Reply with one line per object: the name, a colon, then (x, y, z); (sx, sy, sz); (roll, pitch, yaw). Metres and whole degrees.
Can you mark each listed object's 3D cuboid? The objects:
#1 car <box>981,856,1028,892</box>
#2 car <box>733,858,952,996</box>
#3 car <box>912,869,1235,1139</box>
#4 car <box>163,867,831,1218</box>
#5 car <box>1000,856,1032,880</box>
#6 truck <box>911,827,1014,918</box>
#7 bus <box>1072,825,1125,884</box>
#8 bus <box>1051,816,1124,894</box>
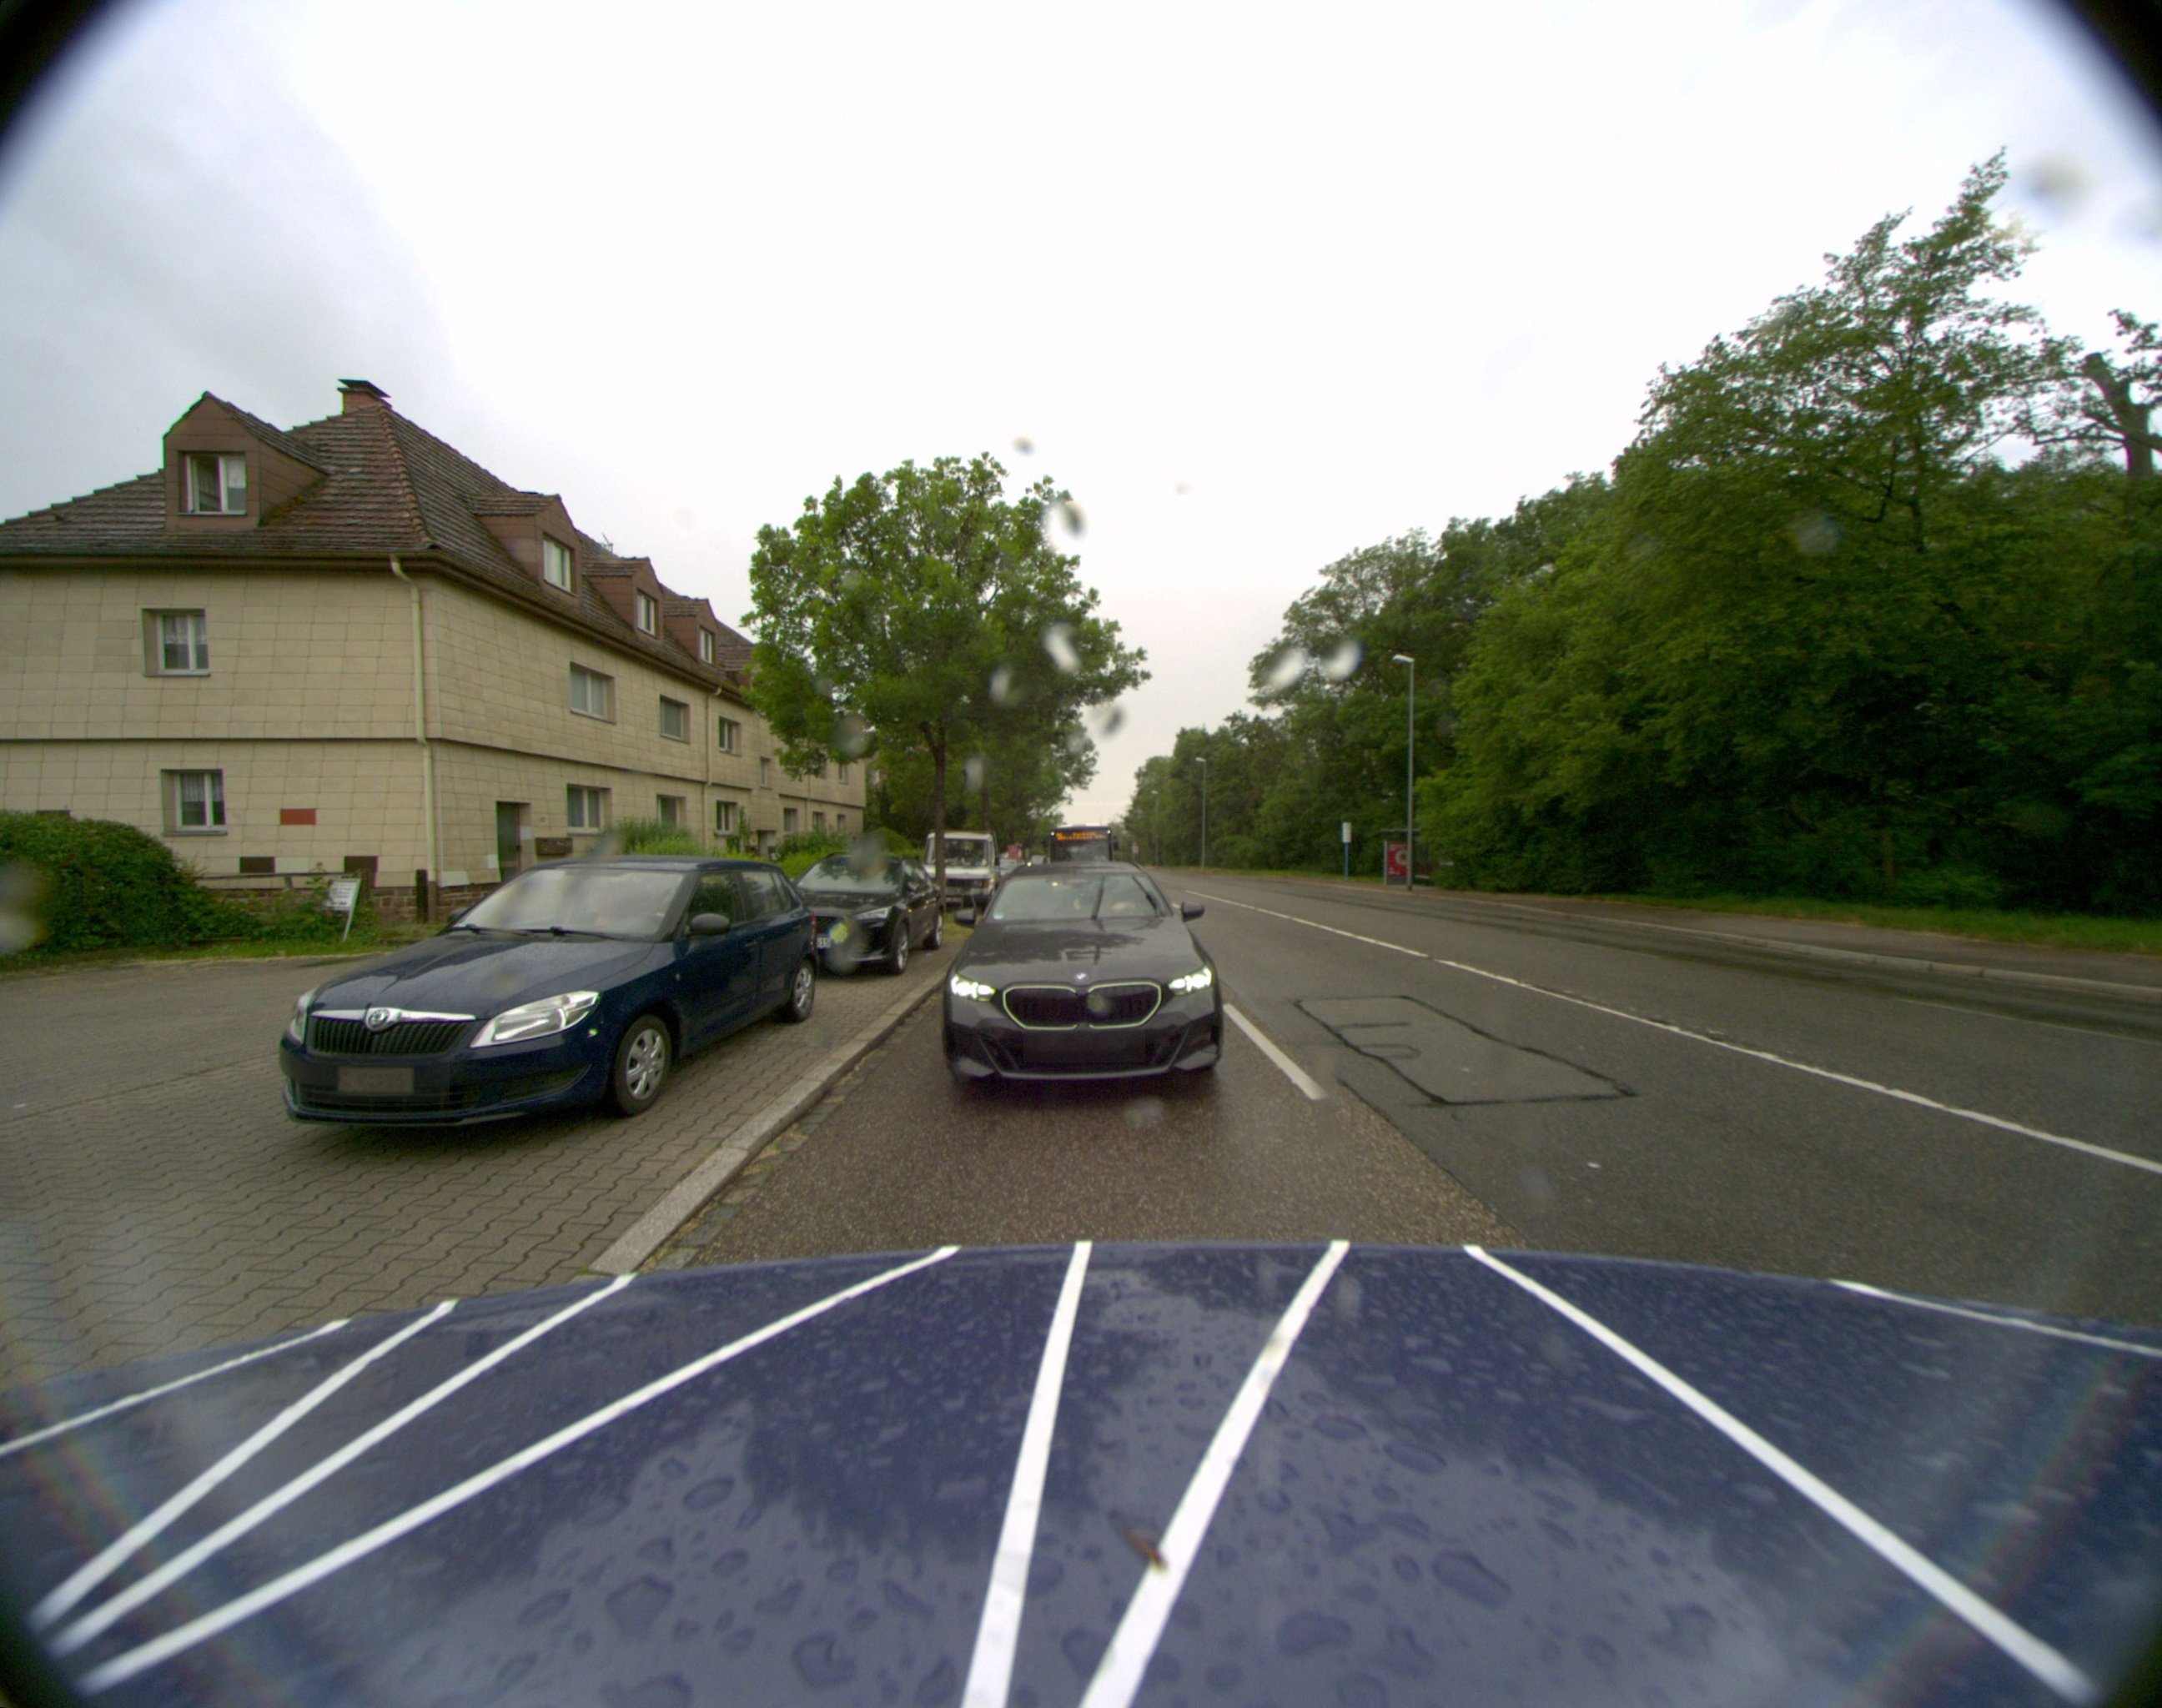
car: (-3.299, 0.904, 33.463); (1.605, 1.427, 4.022); (2, -2, 0)
car: (-3.072, 0.845, 10.736); (1.718, 1.490, 4.183); (2, 0, 0)
car: (-0.057, 0.924, 6.696); (1.855, 1.461, 4.483); (-1, 0, 0)
car: (-3.228, 0.866, 5.289); (1.608, 1.463, 3.856); (1, 0, 1)
car: (-3.956, 0.827, 47.019); (1.692, 1.381, 4.499); (1, 0, -1)
truck: (-3.248, 0.470, 22.293); (2.085, 2.208, 6.500); (2, 0, -1)
bus: (0.816, 0.031, 42.746); (2.562, 2.942, 8.556); (-1, 0, -1)
bus: (0.521, 0.041, 33.993); (2.562, 2.942, 9.453); (-1, 0, 4)
